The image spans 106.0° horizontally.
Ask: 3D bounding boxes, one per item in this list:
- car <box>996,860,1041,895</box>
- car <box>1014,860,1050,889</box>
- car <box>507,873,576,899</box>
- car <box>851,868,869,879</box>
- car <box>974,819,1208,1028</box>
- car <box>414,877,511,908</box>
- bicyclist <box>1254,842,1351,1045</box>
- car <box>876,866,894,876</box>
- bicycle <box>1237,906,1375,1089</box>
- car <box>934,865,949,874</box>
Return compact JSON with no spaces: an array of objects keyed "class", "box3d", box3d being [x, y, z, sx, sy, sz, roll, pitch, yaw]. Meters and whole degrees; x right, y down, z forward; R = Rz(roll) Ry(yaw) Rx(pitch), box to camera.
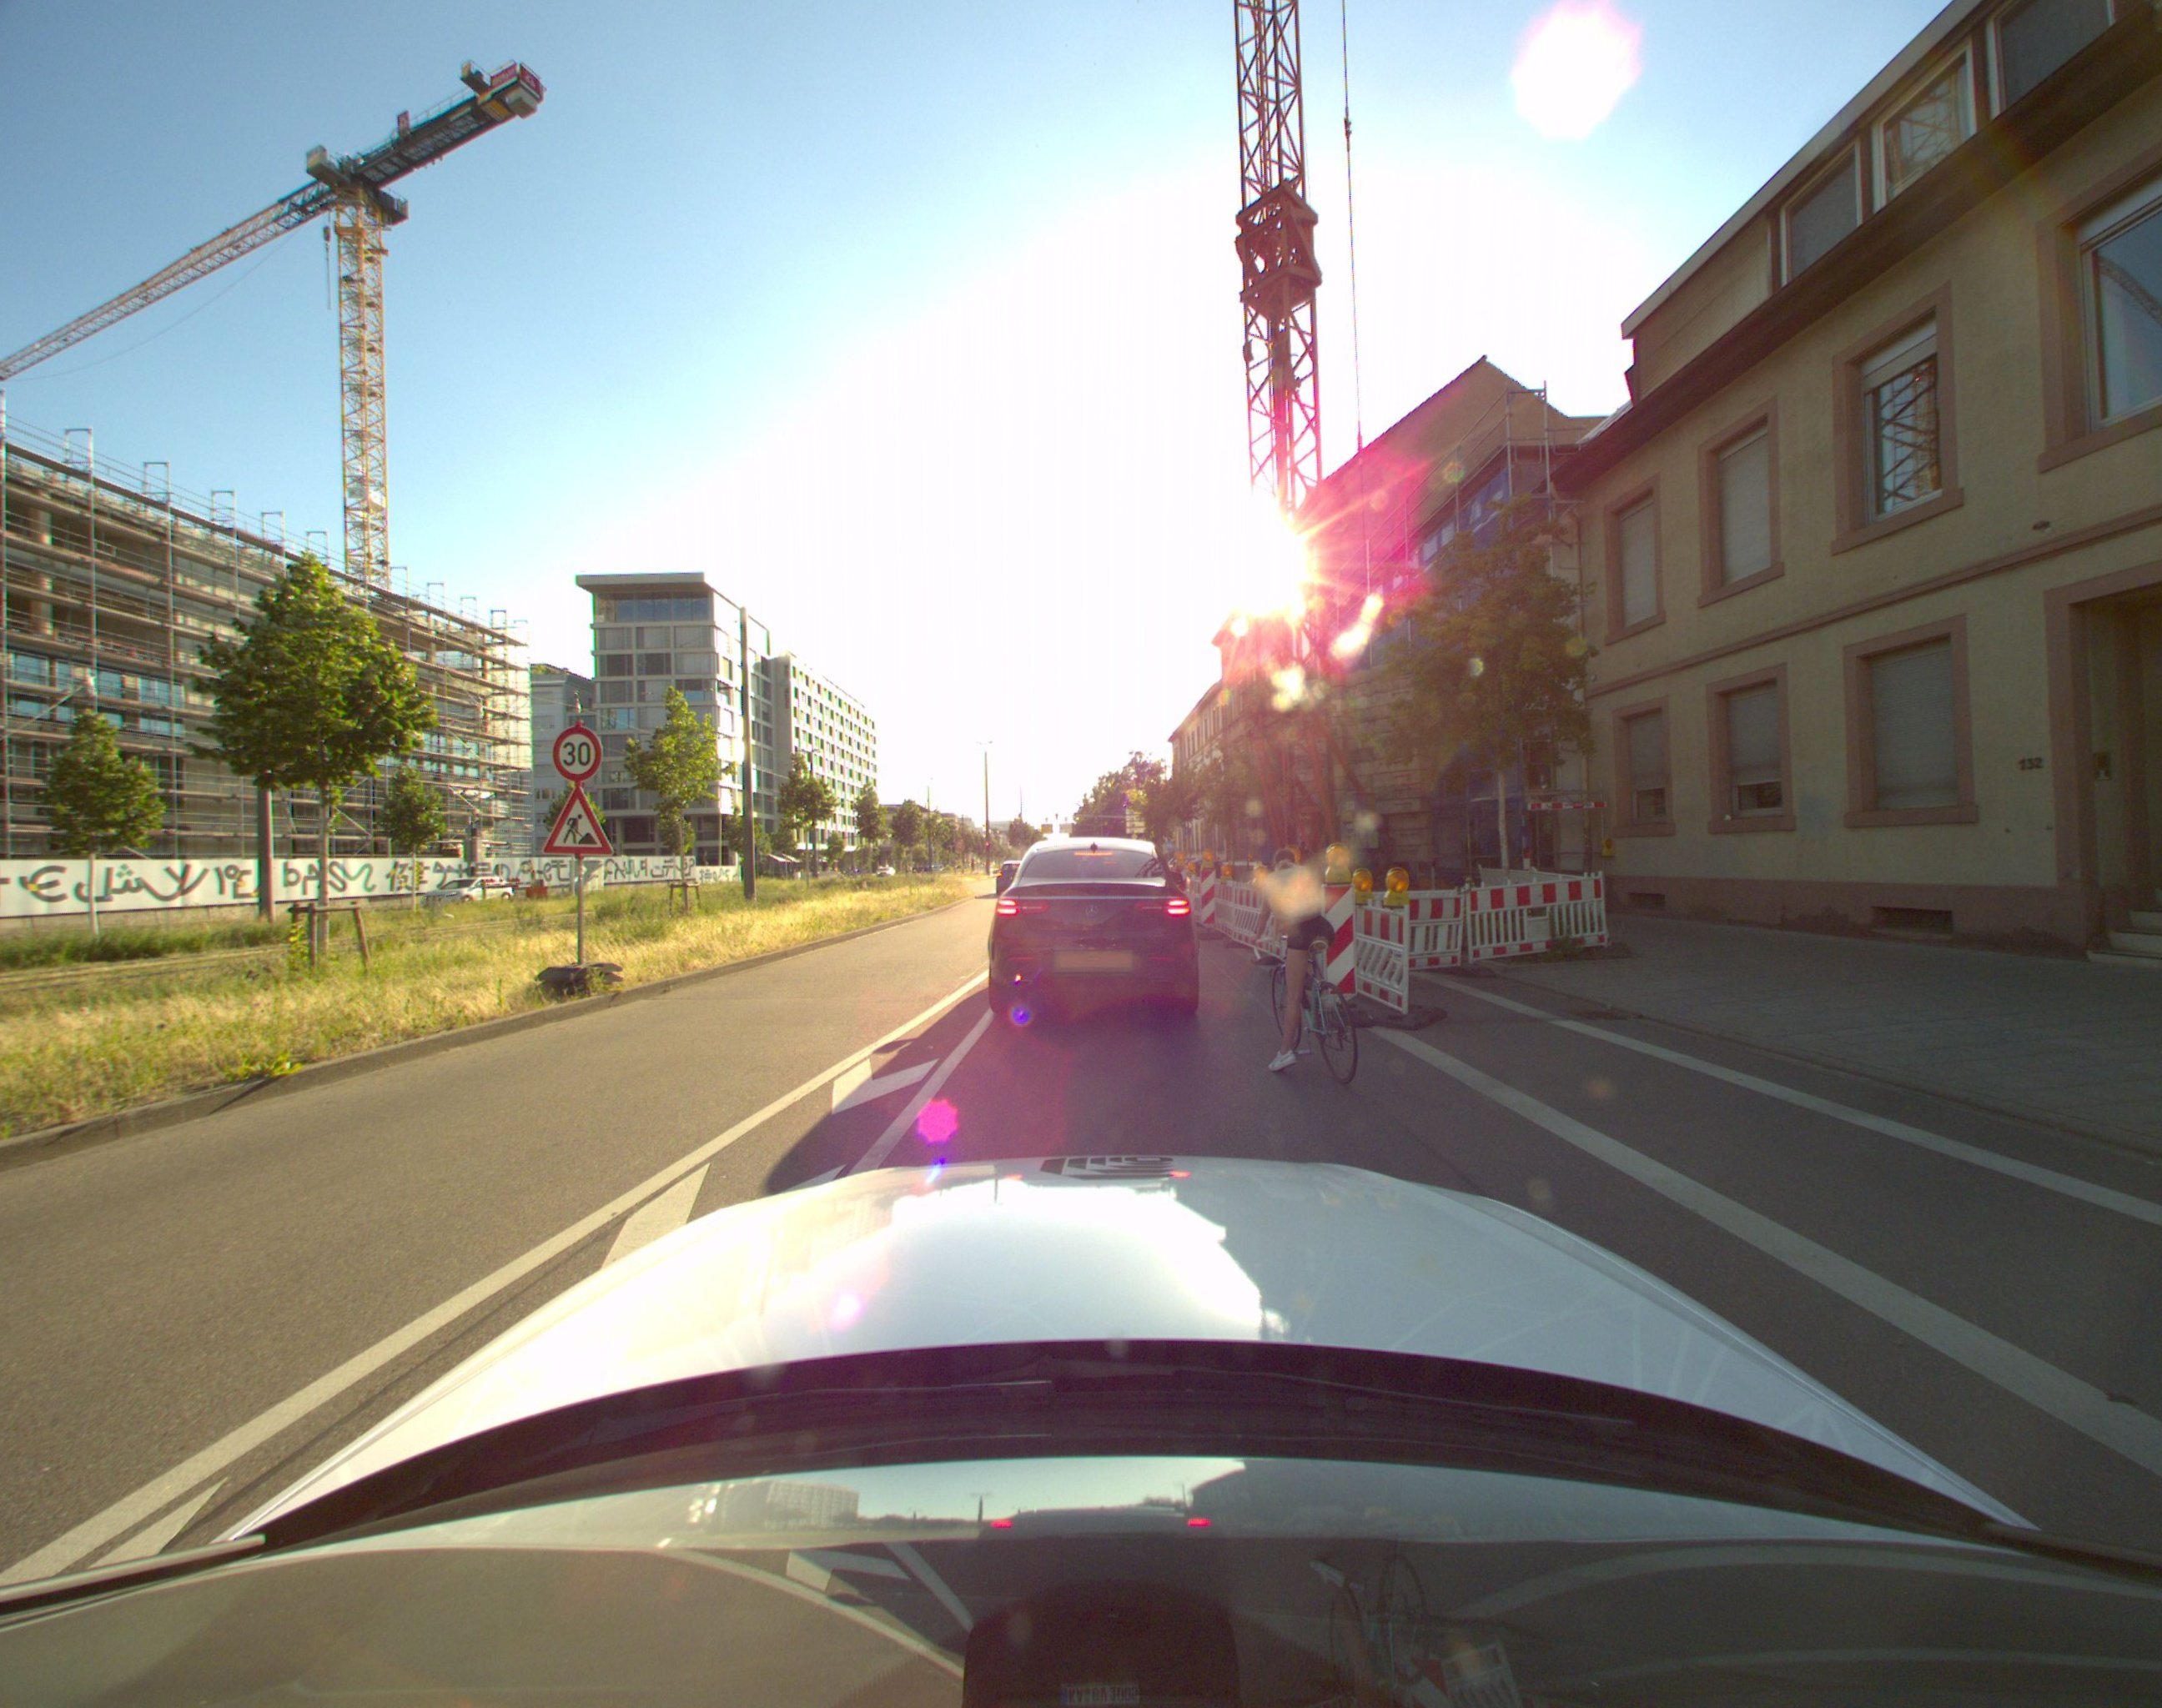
[{"class":"car","box3d":[-2.675,0.987,35.539,1.703,1.442,3.581,0,-1,0]},{"class":"car","box3d":[-2.538,1.044,42.910,1.703,1.442,3.581,0,-1,0]},{"class":"car","box3d":[-32.242,1.894,48.788,1.703,1.442,3.581,0,-1,0]},{"class":"car","box3d":[-32.185,2.834,118.531,1.703,1.442,3.581,0,-1,0]},{"class":"car","box3d":[0.146,0.611,8.961,1.986,1.772,4.001,0,-1,2]},{"class":"car","box3d":[-30.238,1.836,39.956,1.522,1.310,4.094,-1,0,2]},{"class":"bicyclist","box3d":[1.596,0.619,5.939,0.521,1.395,0.614,0,-1,-1]},{"class":"car","box3d":[-28.009,2.402,116.538,1.703,1.442,3.581,0,-1,0]},{"class":"bicycle","box3d":[1.591,0.960,6.011,0.511,1.052,1.724,0,-1,-1]},{"class":"car","box3d":[-21.962,2.449,128.465,1.703,1.442,3.581,0,-1,0]}]
